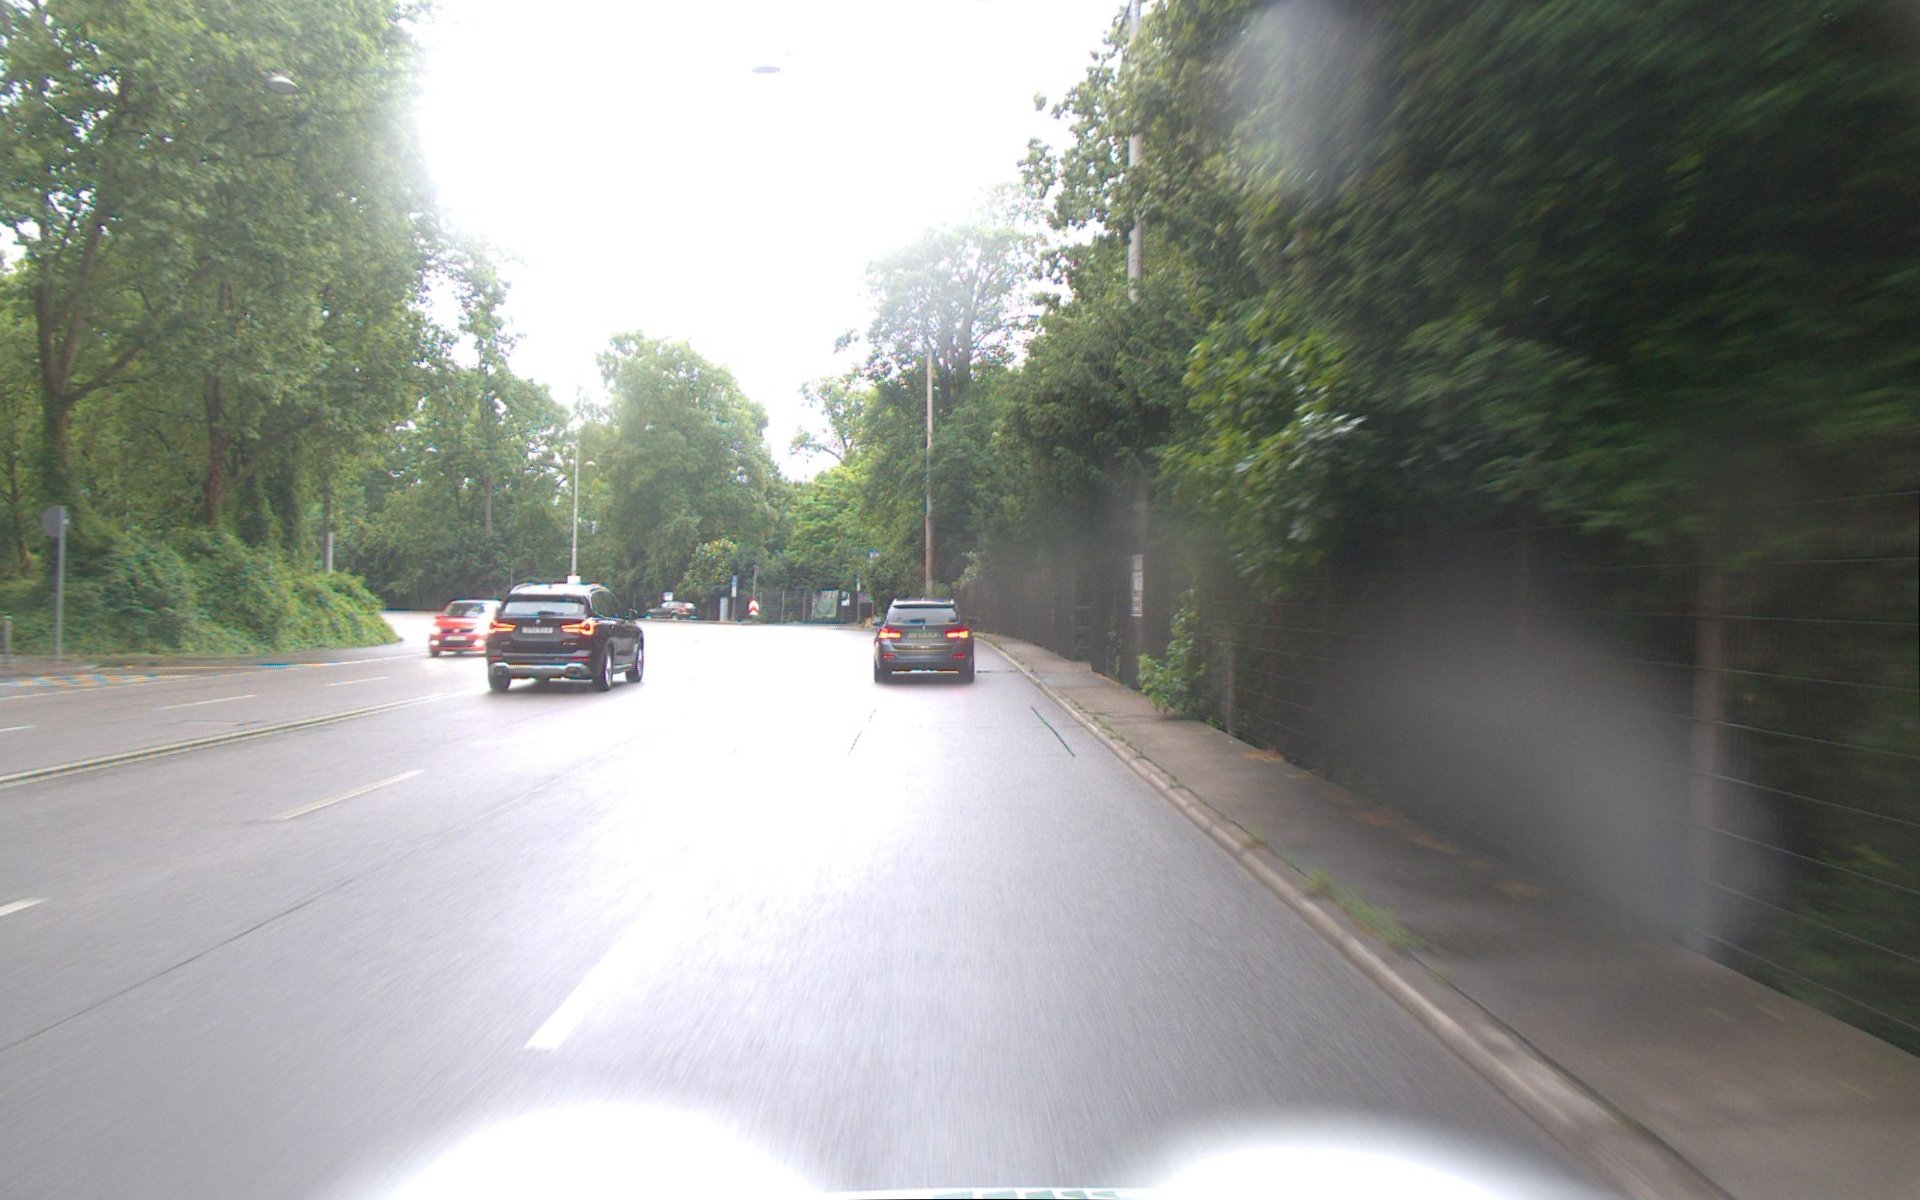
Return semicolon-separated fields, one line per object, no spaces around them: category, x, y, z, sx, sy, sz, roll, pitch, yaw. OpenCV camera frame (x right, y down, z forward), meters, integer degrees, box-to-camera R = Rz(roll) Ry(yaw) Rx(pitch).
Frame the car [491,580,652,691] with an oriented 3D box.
car;-6.260;0.534;27.119;1.722;1.613;4.410;2;0;-2

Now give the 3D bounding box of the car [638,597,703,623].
car;-18.190;0.631;103.851;4.293;1.451;1.682;1;-3;42

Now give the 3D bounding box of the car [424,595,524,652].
car;-12.903;0.602;44.114;1.548;1.439;3.961;0;0;-1

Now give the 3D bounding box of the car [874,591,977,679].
car;-0.663;0.594;30.283;1.722;1.457;4.410;1;0;-2
